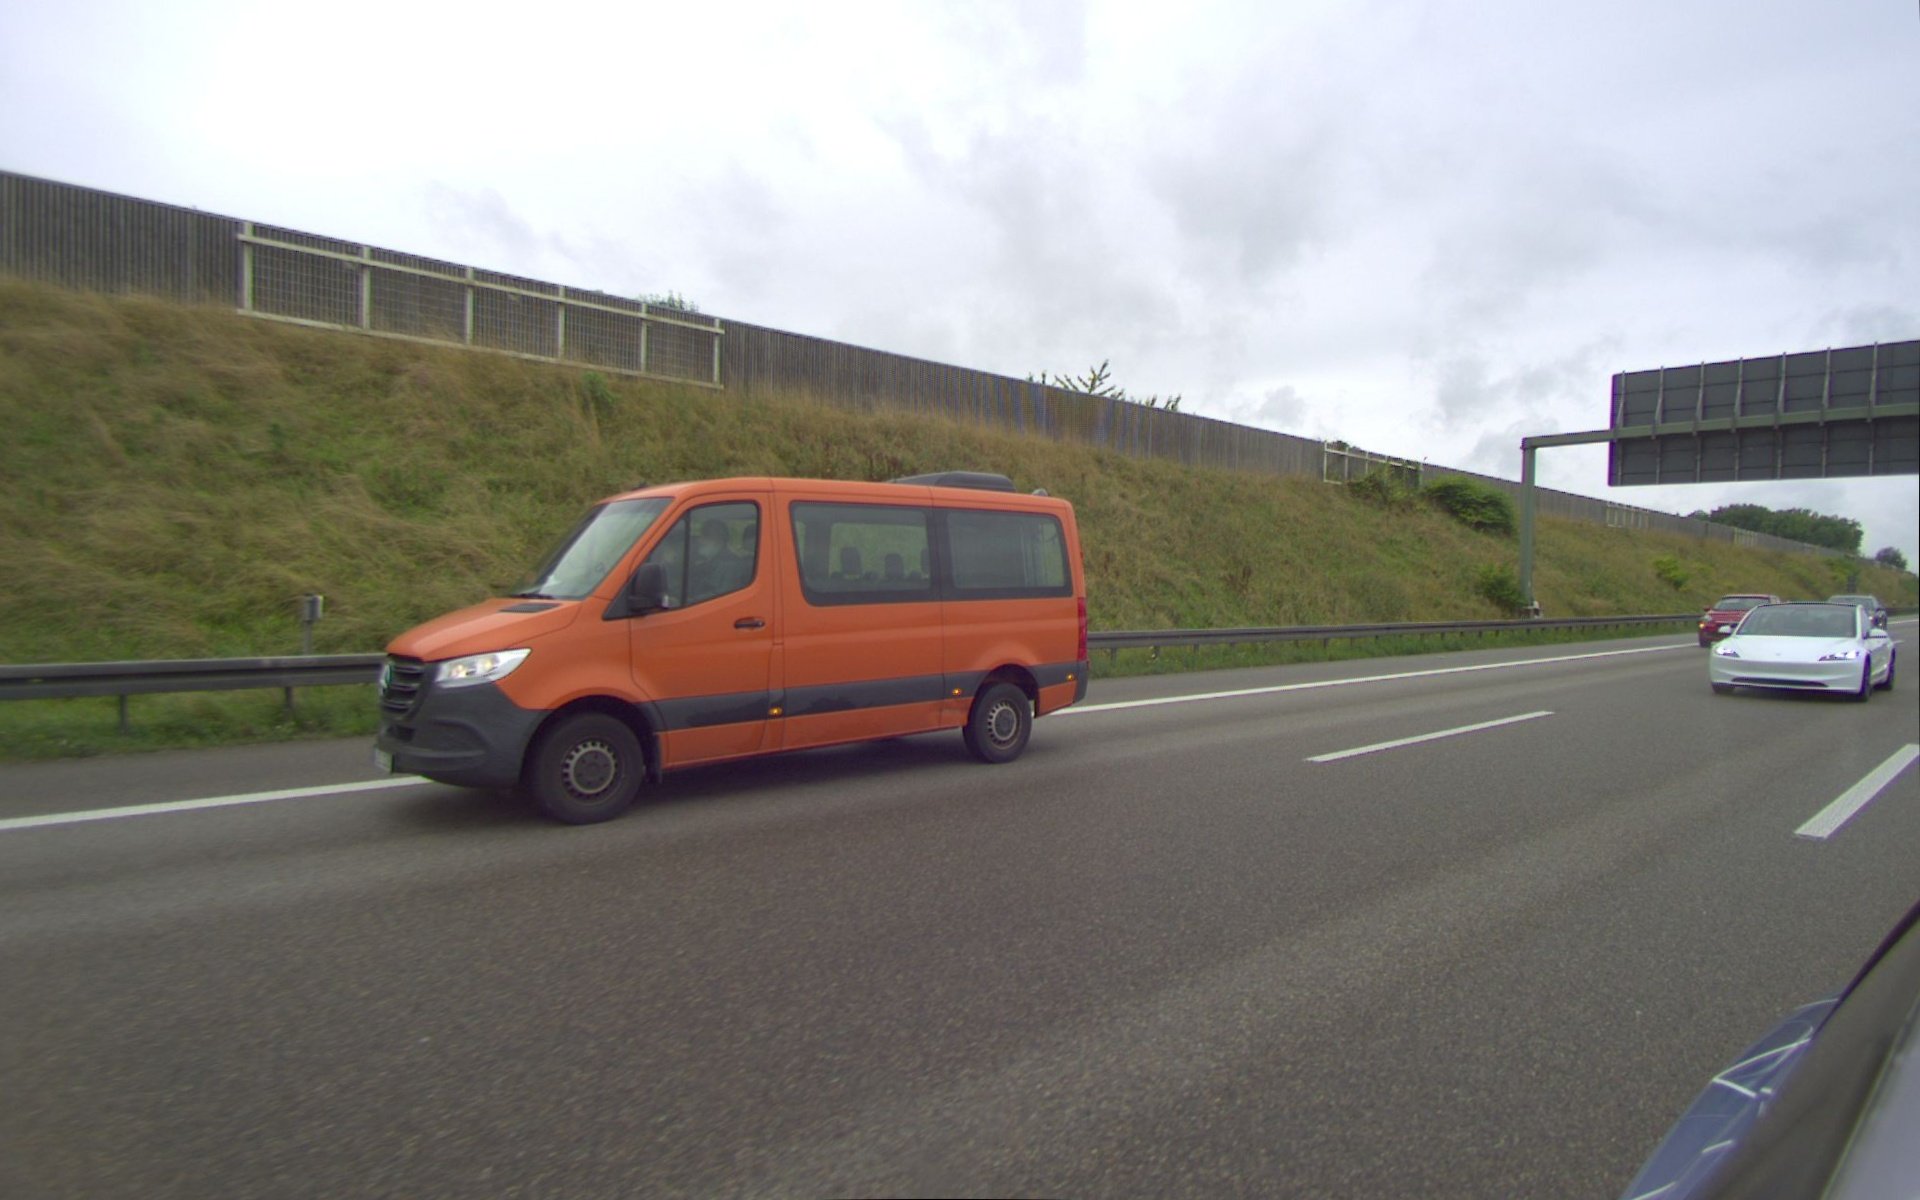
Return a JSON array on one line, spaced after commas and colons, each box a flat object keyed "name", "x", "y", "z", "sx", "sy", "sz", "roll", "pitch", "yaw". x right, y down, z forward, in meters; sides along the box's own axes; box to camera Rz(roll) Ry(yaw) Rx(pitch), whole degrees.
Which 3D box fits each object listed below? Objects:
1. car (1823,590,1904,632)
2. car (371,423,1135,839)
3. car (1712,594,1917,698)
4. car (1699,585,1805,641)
[{"name": "car", "x": 35.516, "y": 0.386, "z": 39.757, "sx": 4.409, "sy": 1.507, "sz": 1.927, "roll": -1, "pitch": 1, "yaw": -42}, {"name": "car", "x": -1.283, "y": 0.150, "z": 8.513, "sx": 6.074, "sy": 2.344, "sz": 2.089, "roll": 0, "pitch": 1, "yaw": -42}, {"name": "car", "x": 13.766, "y": 0.622, "z": 16.199, "sx": 4.730, "sy": 1.380, "sz": 1.876, "roll": -1, "pitch": 1, "yaw": -42}, {"name": "car", "x": 23.886, "y": 0.352, "z": 30.480, "sx": 3.932, "sy": 1.554, "sz": 1.876, "roll": -1, "pitch": 1, "yaw": -42}]
